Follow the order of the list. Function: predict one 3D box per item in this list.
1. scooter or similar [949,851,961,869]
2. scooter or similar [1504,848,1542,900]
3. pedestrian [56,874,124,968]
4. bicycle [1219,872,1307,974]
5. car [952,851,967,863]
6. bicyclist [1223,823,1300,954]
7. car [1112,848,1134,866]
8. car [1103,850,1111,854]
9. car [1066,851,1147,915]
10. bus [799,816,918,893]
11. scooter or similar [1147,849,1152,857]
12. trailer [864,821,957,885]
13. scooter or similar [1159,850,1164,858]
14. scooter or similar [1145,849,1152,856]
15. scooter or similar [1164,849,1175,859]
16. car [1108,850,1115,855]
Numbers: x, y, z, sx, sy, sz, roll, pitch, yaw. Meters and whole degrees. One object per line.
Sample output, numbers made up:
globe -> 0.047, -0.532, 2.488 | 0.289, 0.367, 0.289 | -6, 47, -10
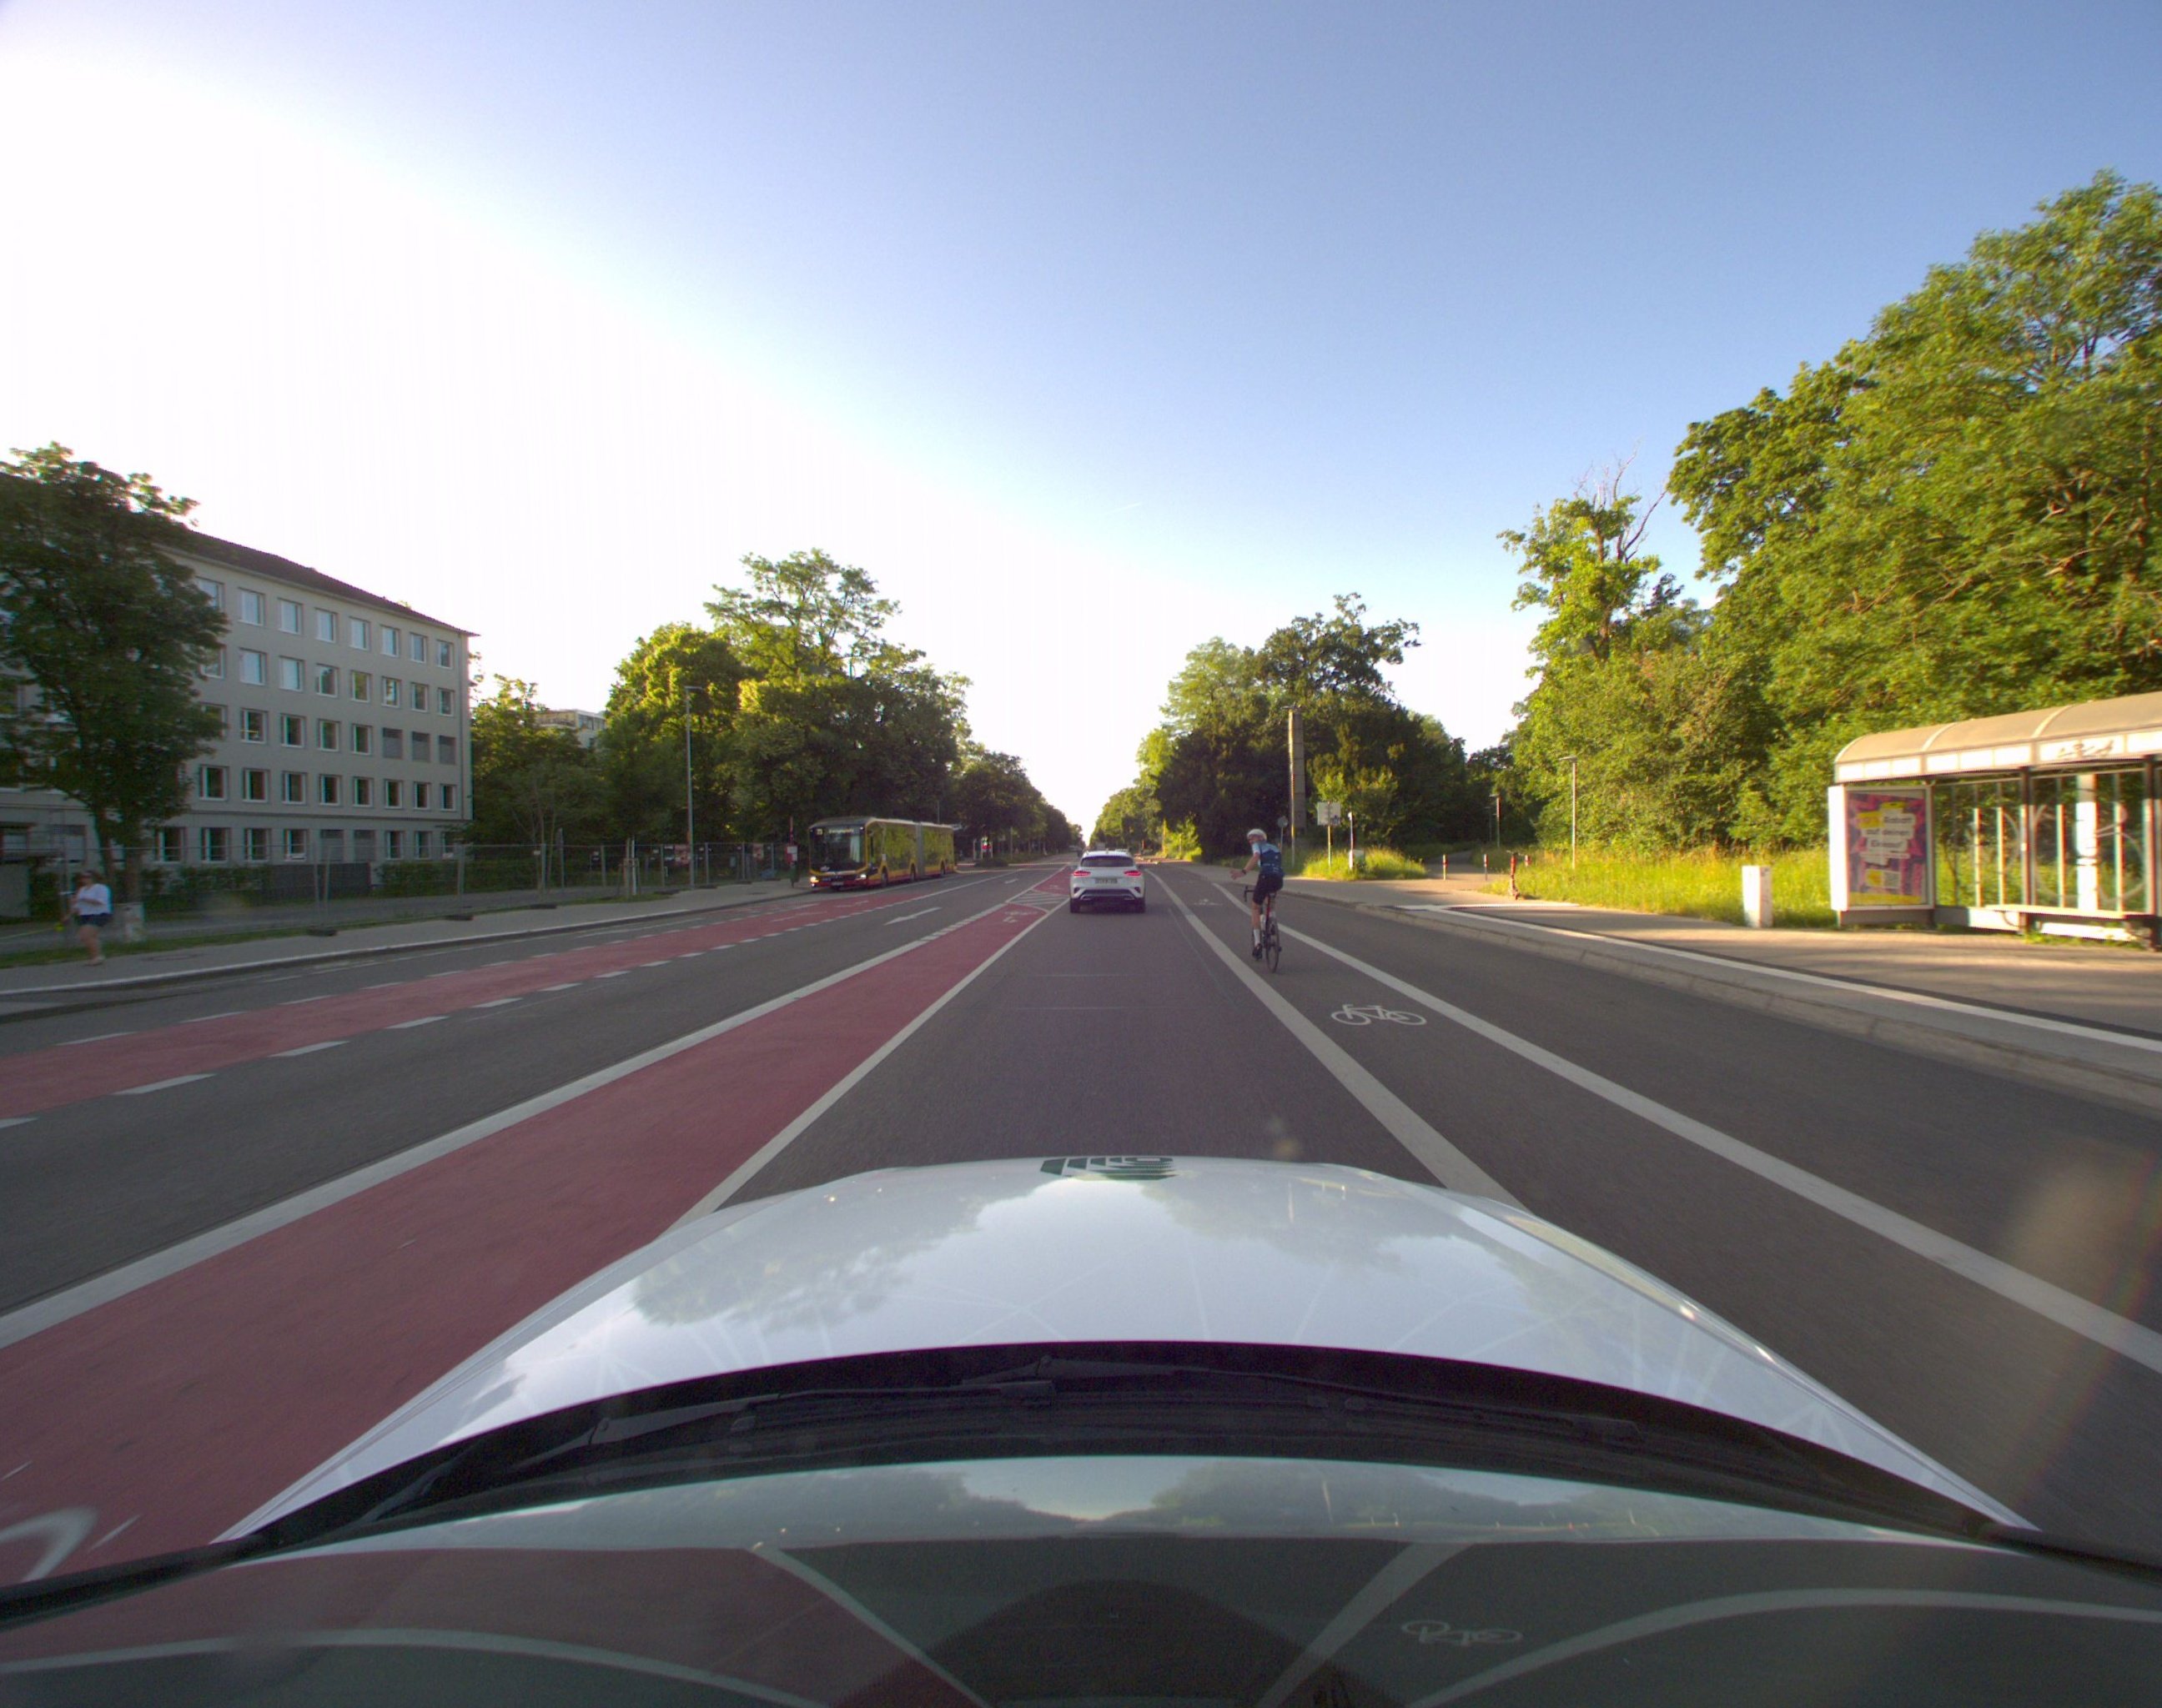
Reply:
scooter or similar -> -12.855, 0.606, 82.950 | 0.824, 1.717, 1.742 | -1, 0, 2
scooter or similar -> 11.117, 0.479, 20.520 | 0.715, 1.247, 1.336 | -1, 0, 24
pedestrian -> -16.642, 1.110, 13.684 | 0.450, 1.534, 0.571 | 0, 0, -3
bicycle -> 2.275, 0.817, 10.455 | 0.886, 1.095, 2.140 | 0, 1, 6
car -> -18.095, 0.446, 121.166 | 1.707, 1.691, 4.449 | -1, 0, -3
bicyclist -> 2.249, 0.409, 10.269 | 0.855, 1.567, 0.883 | 0, 0, 6
car -> 3.569, 0.266, 68.453 | 1.668, 1.417, 3.578 | -2, 0, 4
car -> 7.765, -0.594, 246.210 | 1.989, 1.327, 3.996 | -1, 0, -3
car -> 0.564, 0.659, 20.719 | 1.757, 1.459, 3.814 | 1, 0, -3
bus -> -10.232, -0.008, 38.599 | 2.828, 3.196, 8.606 | -1, 0, 3
scooter or similar -> 12.473, -0.239, 148.033 | 0.680, 1.423, 1.682 | -1, 0, 1
trailer -> -9.698, -0.072, 47.558 | 2.842, 3.355, 9.371 | 1, 0, 3
scooter or similar -> 12.045, -0.032, 122.263 | 0.531, 1.250, 1.541 | -1, 0, 1
scooter or similar -> 12.610, -0.267, 151.984 | 0.683, 1.423, 1.674 | -1, 0, -13
scooter or similar -> 11.355, 0.053, 104.412 | 1.550, 1.250, 0.528 | -1, 0, -43
car -> 8.567, -0.529, 230.504 | 1.987, 1.327, 4.000 | -1, 0, 0
